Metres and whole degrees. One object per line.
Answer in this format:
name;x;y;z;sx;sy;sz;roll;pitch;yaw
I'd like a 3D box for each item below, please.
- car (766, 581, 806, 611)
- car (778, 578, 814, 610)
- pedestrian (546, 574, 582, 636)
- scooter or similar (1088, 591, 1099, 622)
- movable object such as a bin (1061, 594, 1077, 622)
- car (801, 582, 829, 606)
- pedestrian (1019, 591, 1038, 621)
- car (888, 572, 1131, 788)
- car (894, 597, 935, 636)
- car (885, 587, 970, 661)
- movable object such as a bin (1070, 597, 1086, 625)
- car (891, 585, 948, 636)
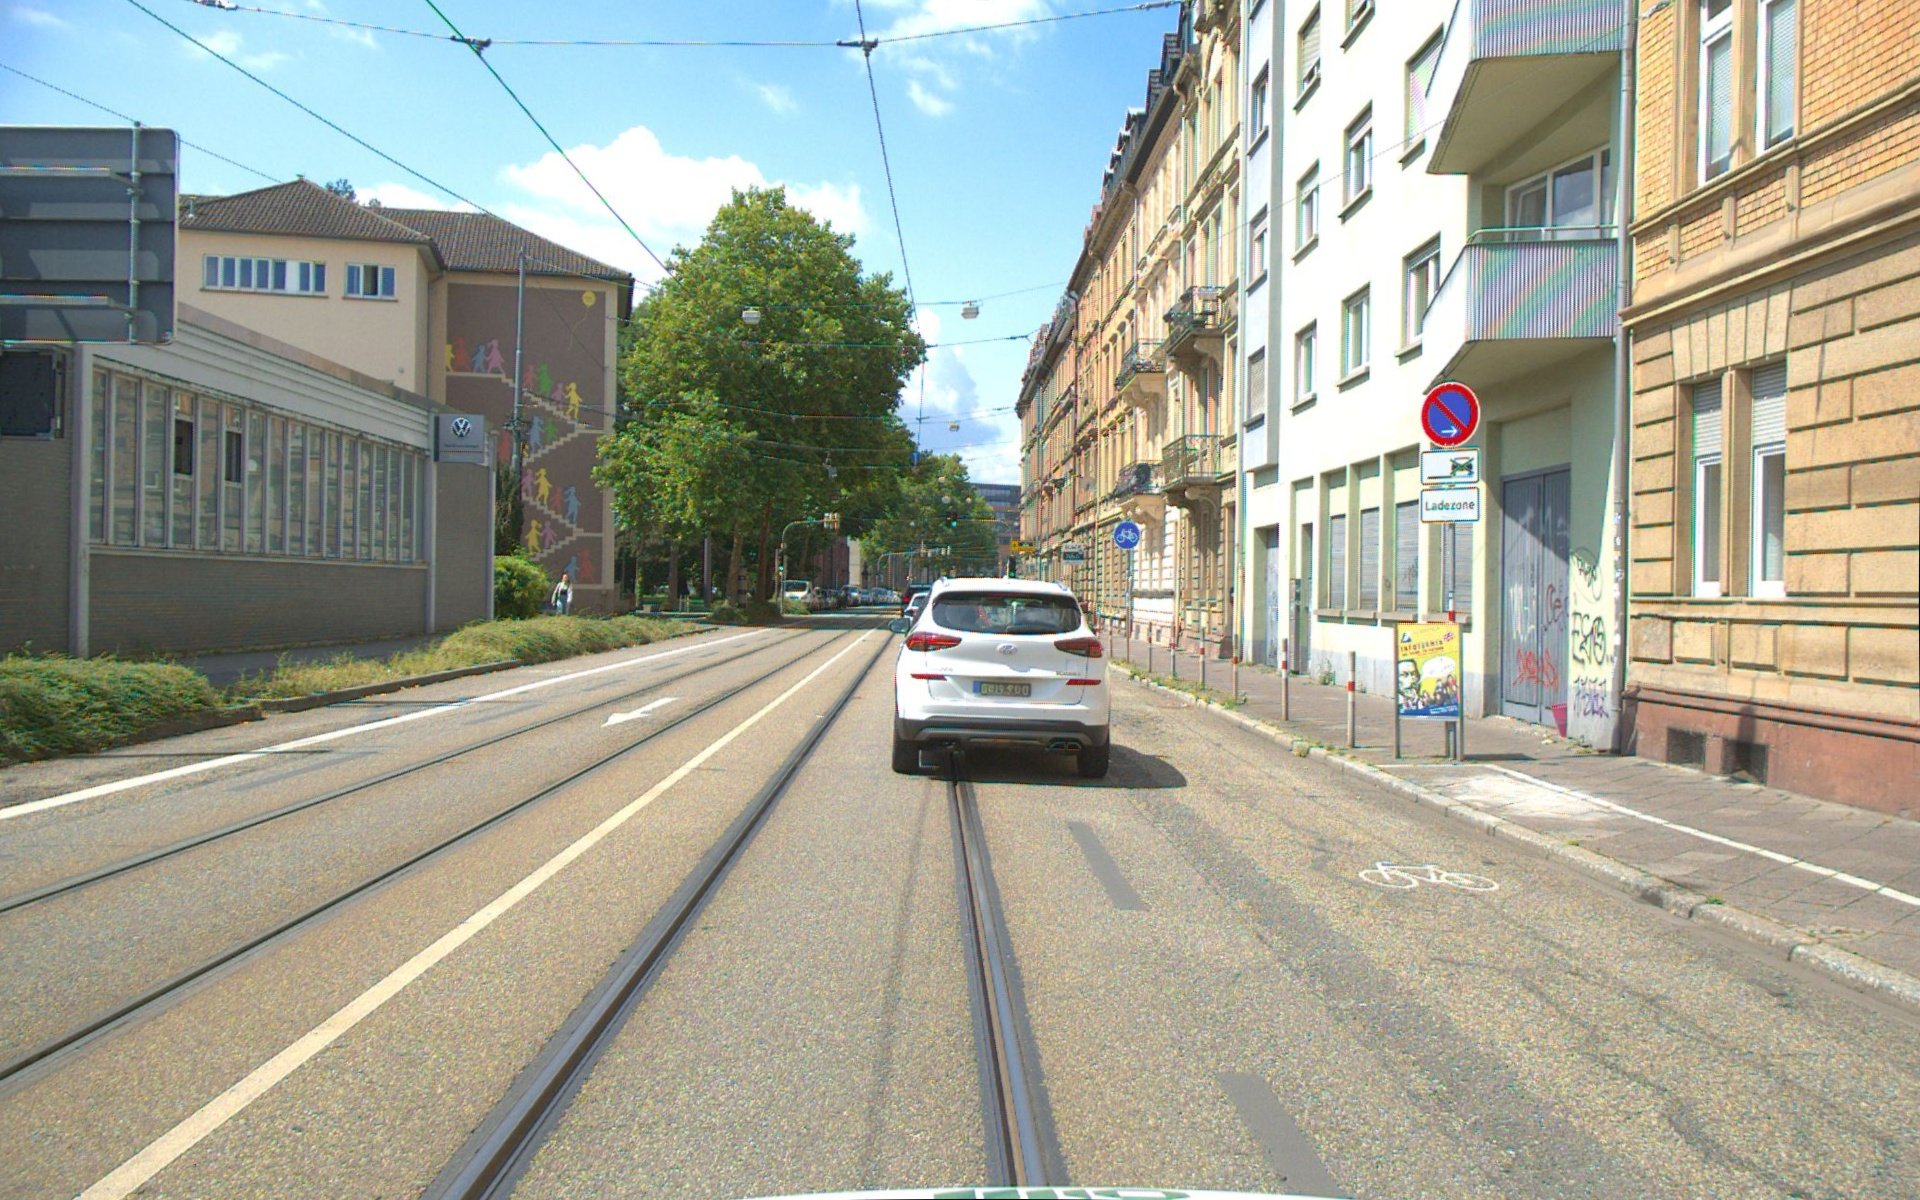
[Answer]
car;-10.294;-0.254;98.037;1.910;1.660;4.574;1;0;-1
car;-10.271;-0.382;103.921;1.910;1.928;4.564;1;0;-1
pedestrian;-12.279;0.151;51.325;0.862;1.898;1.081;0;0;-1
scooter or similar;5.275;0.249;65.350;0.387;1.184;0.486;1;0;-1
movable object such as a bin;4.596;0.350;69.829;0.600;1.163;0.638;1;0;-1
car;-10.423;-0.427;119.139;1.911;1.660;3.997;1;0;-4
pedestrian;3.694;0.303;89.101;0.919;1.600;1.049;1;0;-1
car;0.308;0.622;15.222;1.815;1.662;4.178;2;0;-4
car;-2.058;0.723;74.678;1.778;1.691;4.084;1;0;-1
car;-0.695;0.494;36.855;1.777;1.551;4.085;0;0;0
movable object such as a bin;4.881;0.454;68.406;0.600;1.163;0.638;1;0;-1
car;-1.298;0.315;53.695;1.777;1.551;3.955;1;0;-1
